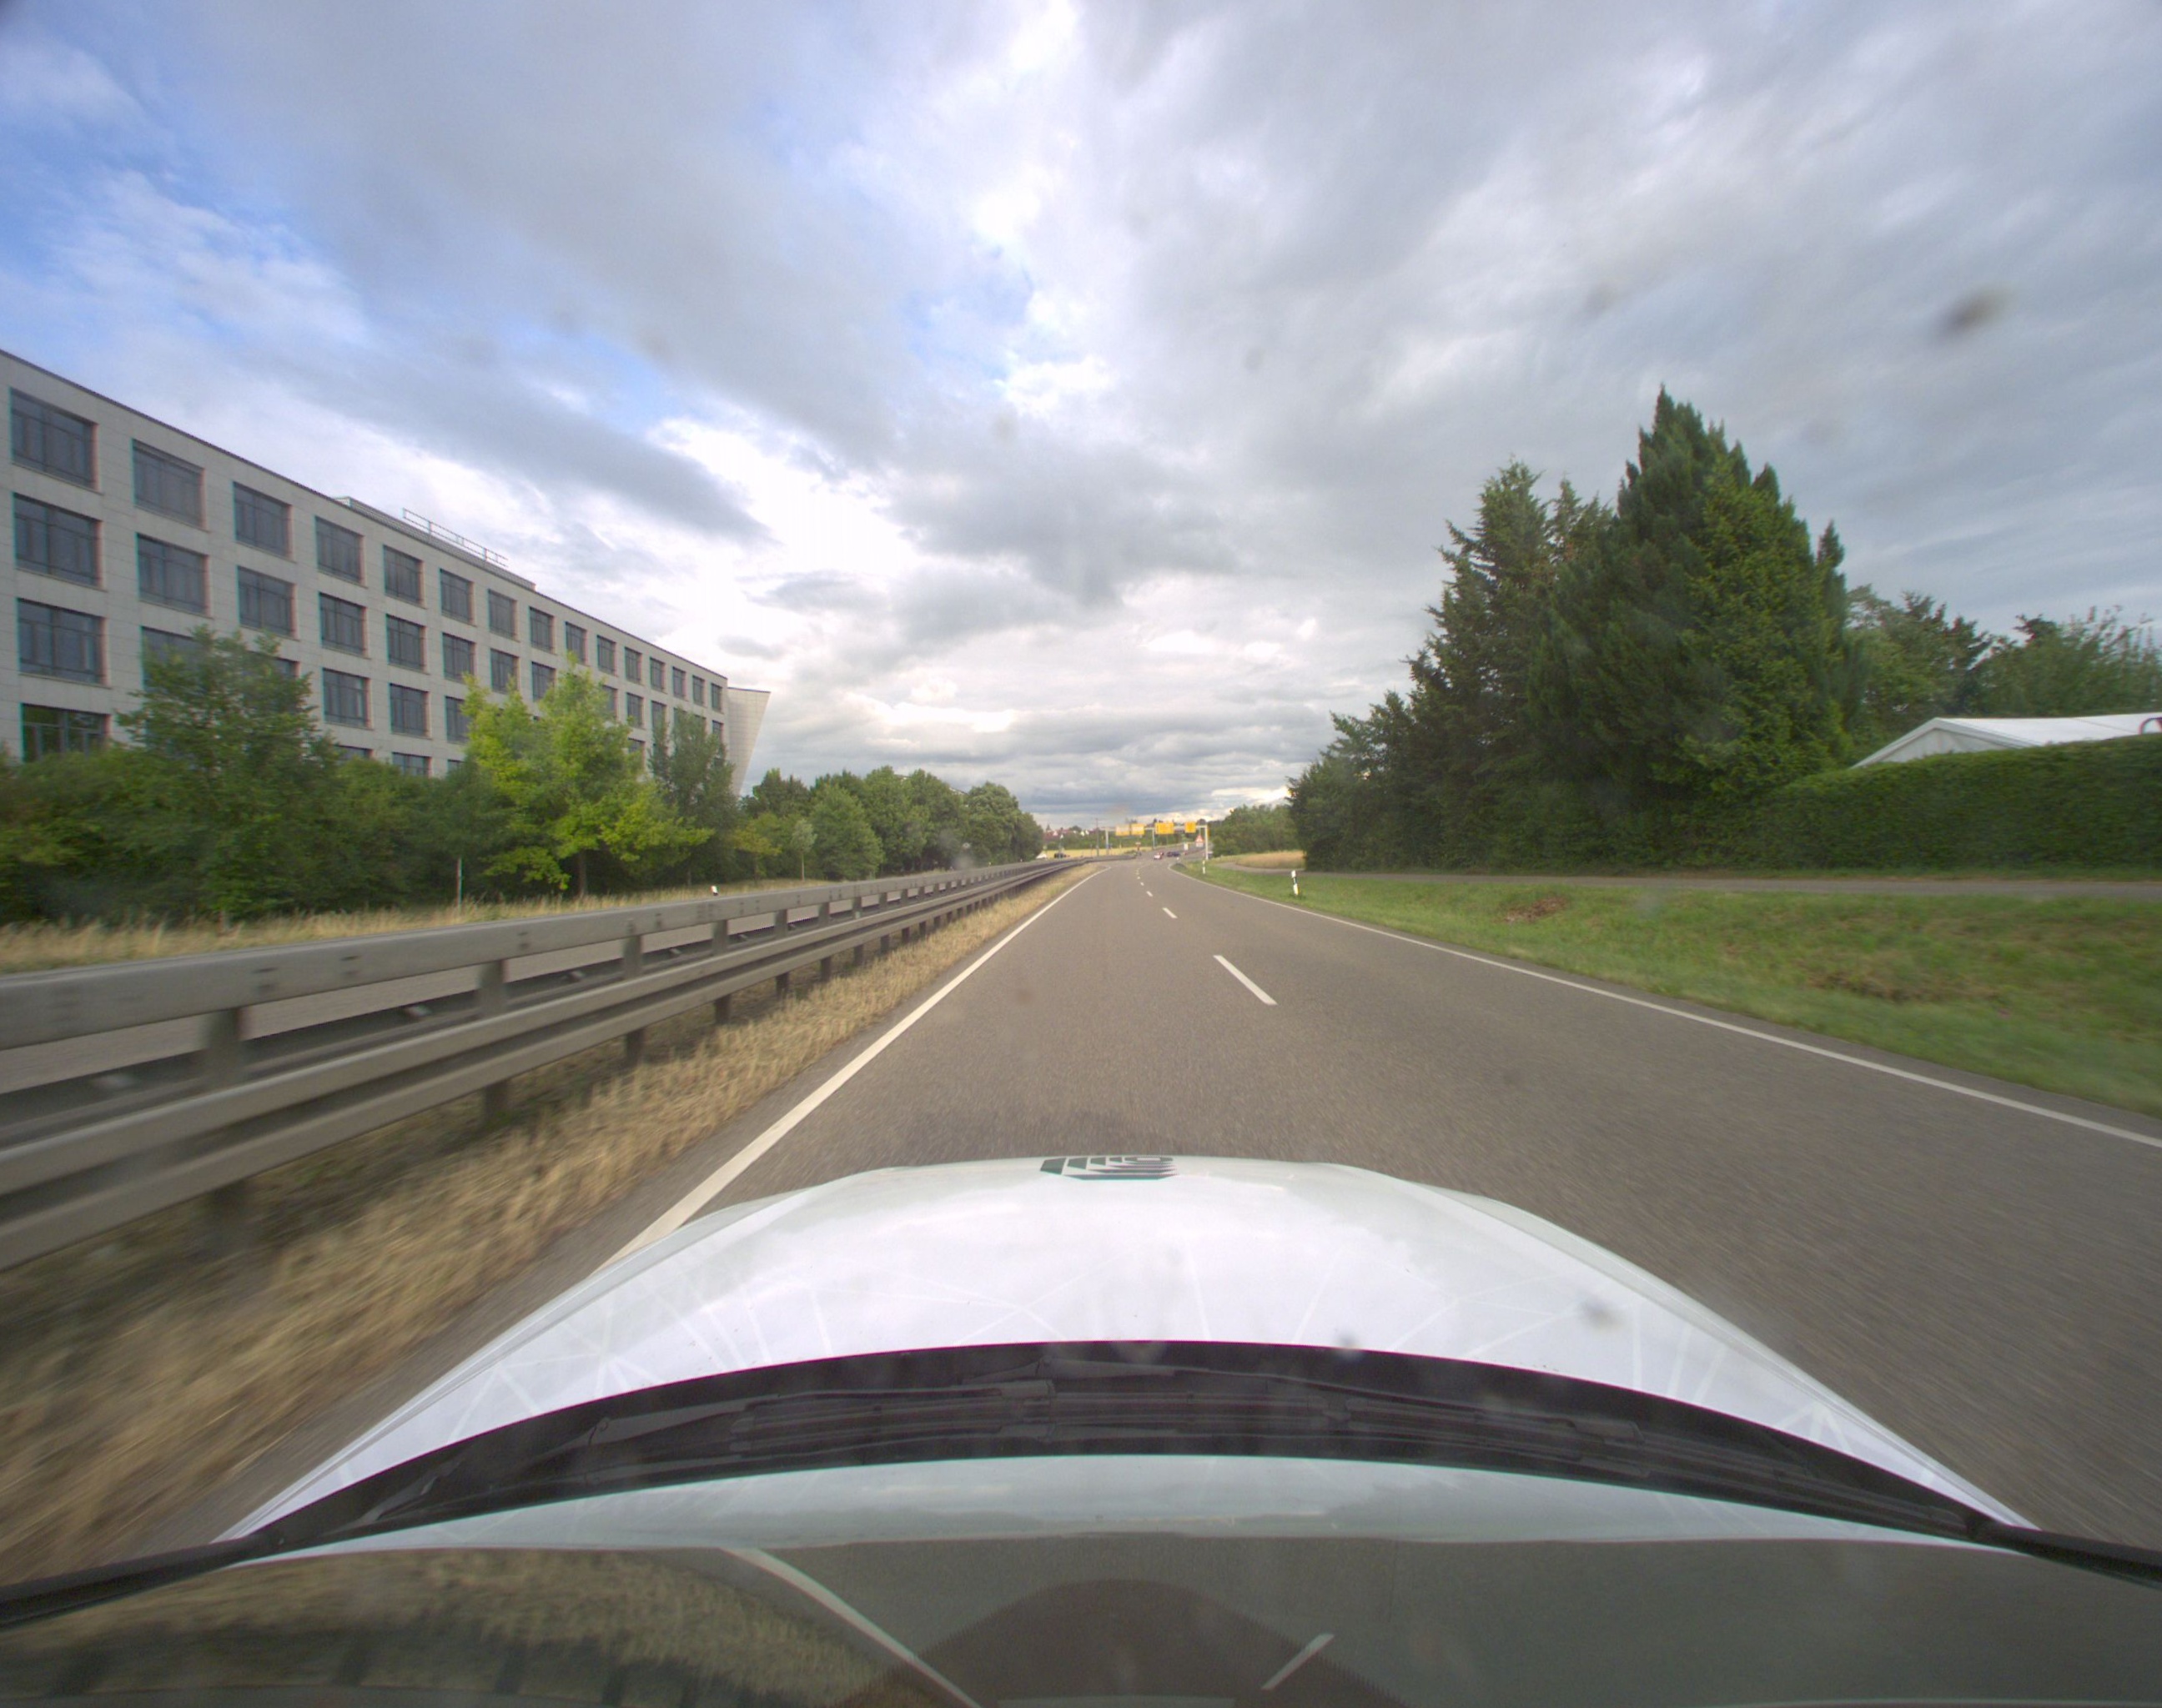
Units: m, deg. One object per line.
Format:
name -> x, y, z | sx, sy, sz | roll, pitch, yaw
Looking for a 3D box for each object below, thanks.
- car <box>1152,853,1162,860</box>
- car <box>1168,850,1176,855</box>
car -> 19.218, 0.612, 205.854 | 1.784, 1.556, 4.016 | -2, 0, 15
car -> 27.627, -0.500, 247.223 | 1.784, 1.556, 4.016 | -2, 0, 15
